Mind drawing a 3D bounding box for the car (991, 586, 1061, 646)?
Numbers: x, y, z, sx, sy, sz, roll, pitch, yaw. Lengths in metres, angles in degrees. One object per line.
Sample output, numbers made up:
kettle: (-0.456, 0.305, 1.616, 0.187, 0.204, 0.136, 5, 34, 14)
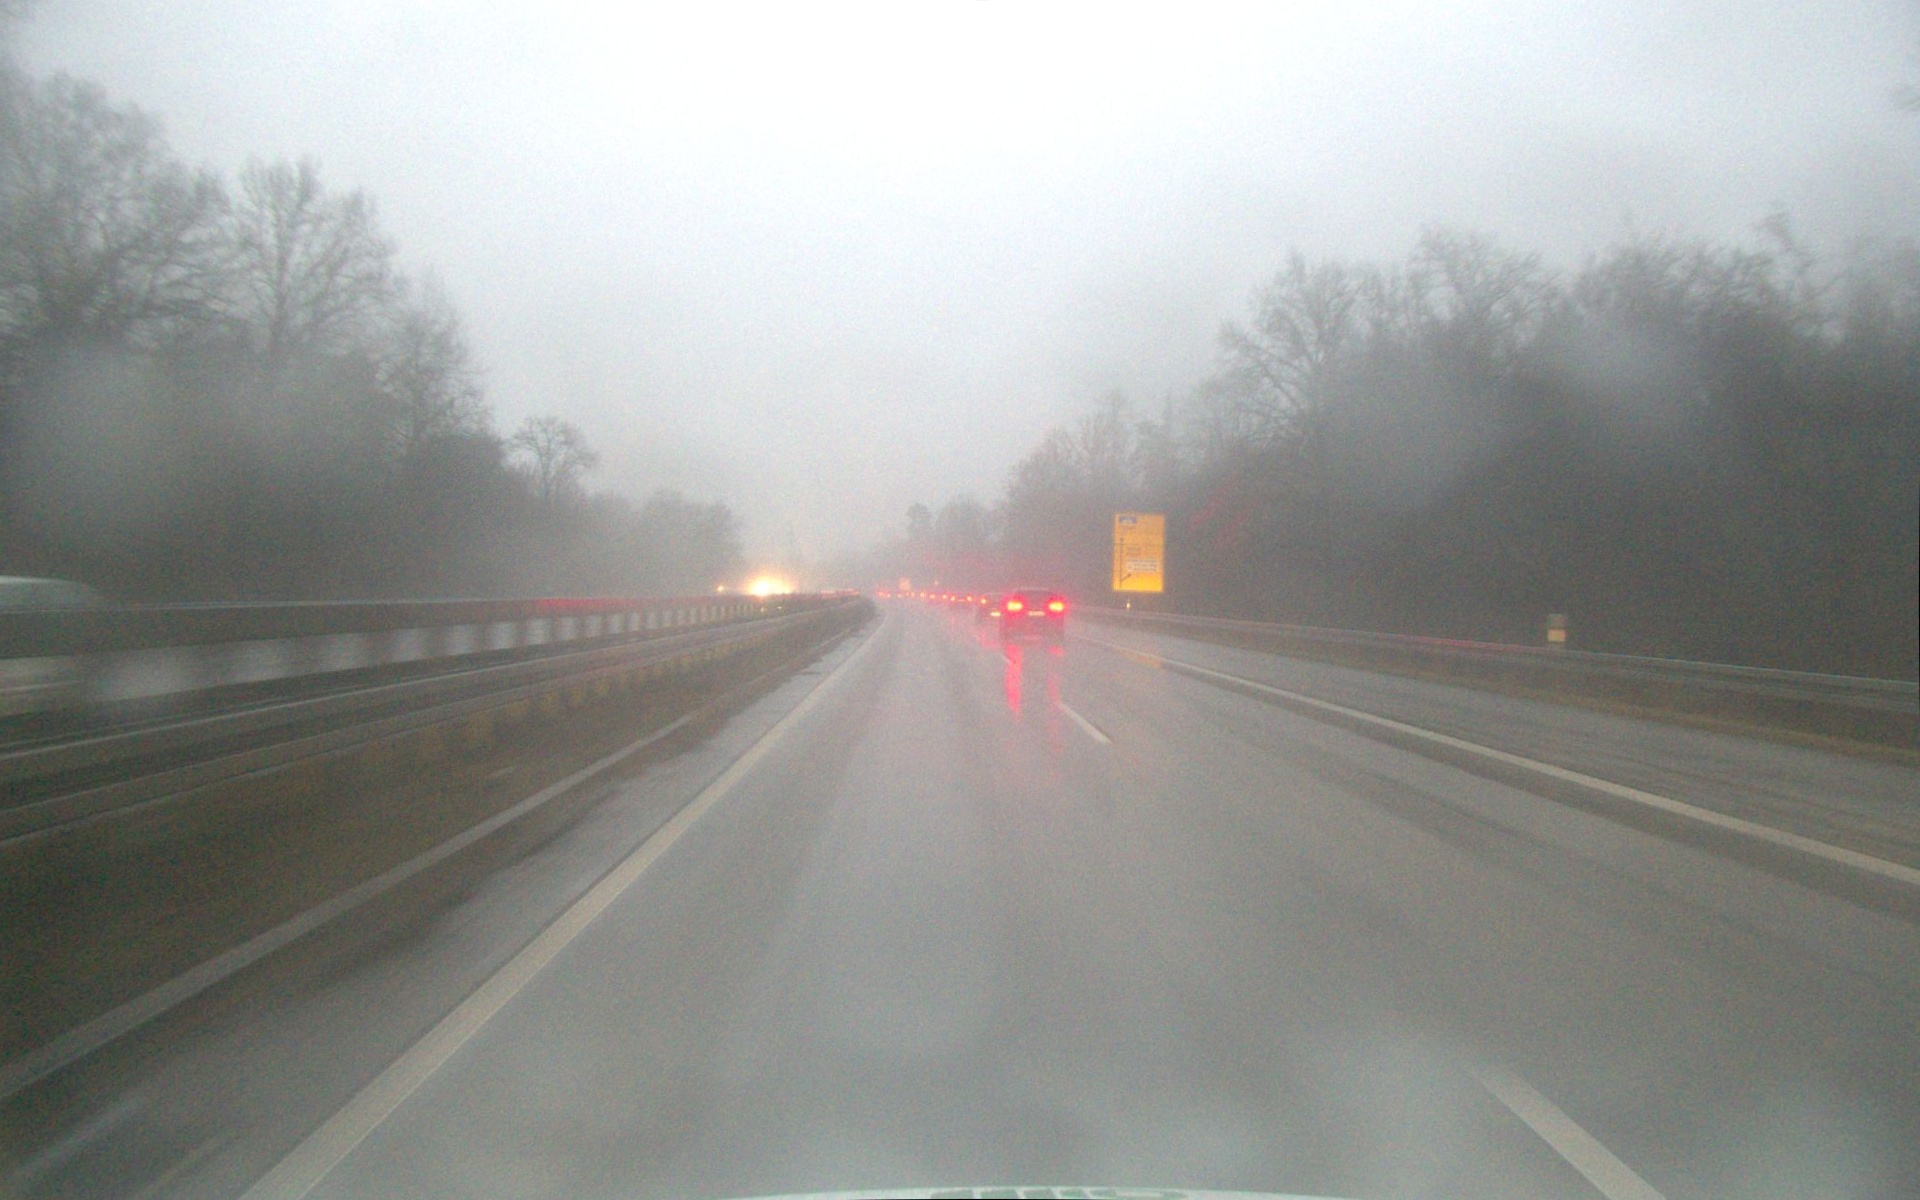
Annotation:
car: (2.001, 0.476, 50.992, 1.951, 1.745, 3.829, 1, 0, 0)

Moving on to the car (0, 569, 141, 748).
car: (-10.814, 0.603, 17.930, 1.720, 1.867, 3.914, 1, 0, 3)

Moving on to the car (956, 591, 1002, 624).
car: (0.860, 0.355, 77.562, 1.953, 1.445, 3.998, 3, -1, -2)
